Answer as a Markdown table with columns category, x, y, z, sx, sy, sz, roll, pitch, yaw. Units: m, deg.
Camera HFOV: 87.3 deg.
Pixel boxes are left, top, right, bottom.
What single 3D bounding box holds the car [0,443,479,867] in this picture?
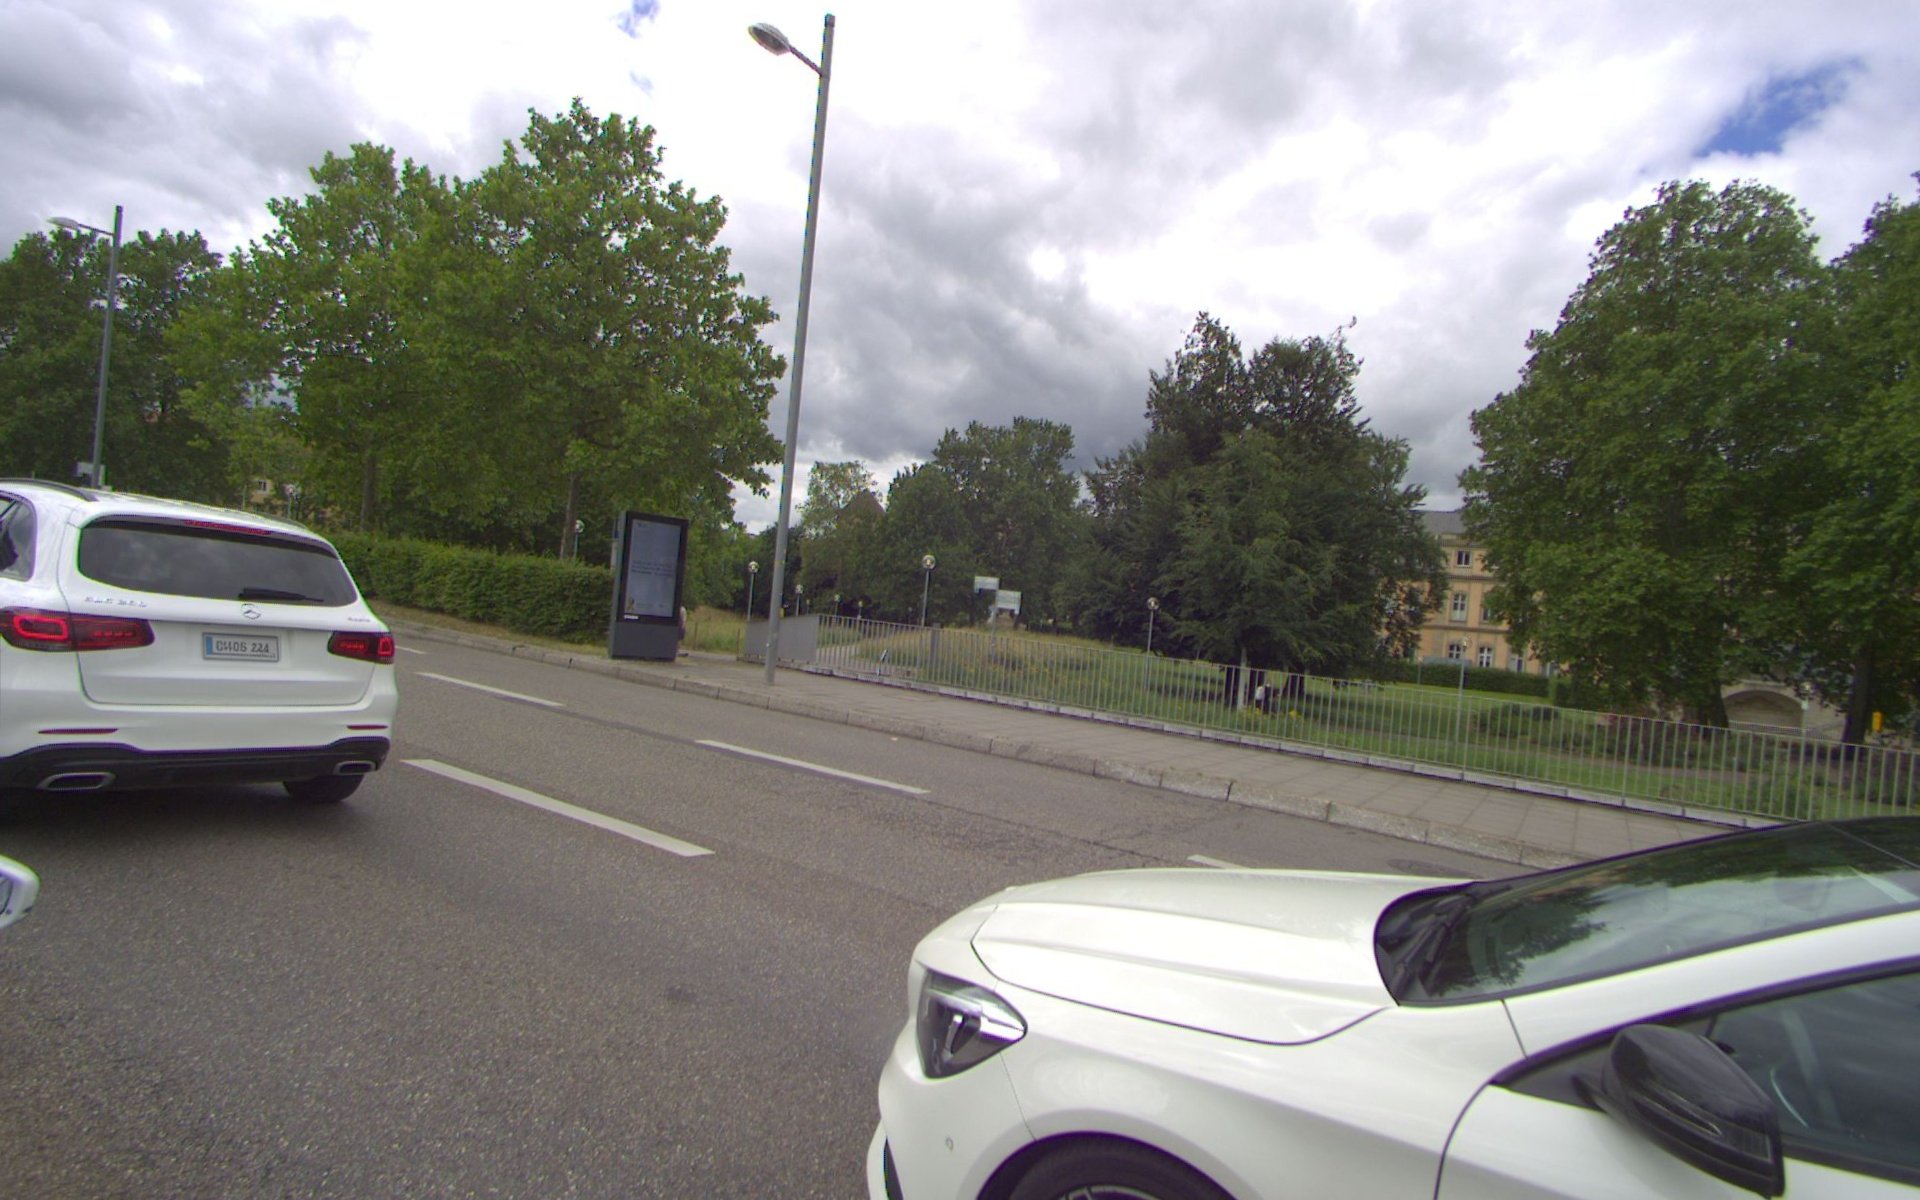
| category | x | y | z | sx | sy | sz | roll | pitch | yaw |
| --- | --- | --- | --- | --- | --- | --- | --- | --- | --- |
| car | -5.092 | 0.103 | 5.937 | 4.417 | 1.673 | 1.929 | 6 | -1 | 33 |

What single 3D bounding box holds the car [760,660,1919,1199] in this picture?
| category | x | y | z | sx | sy | sz | roll | pitch | yaw |
| --- | --- | --- | --- | --- | --- | --- | --- | --- | --- |
| car | 1.935 | 1.102 | 1.779 | 4.454 | 1.436 | 1.796 | 5 | -2 | 33 |

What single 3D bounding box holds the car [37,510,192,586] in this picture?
| category | x | y | z | sx | sy | sz | roll | pitch | yaw |
| --- | --- | --- | --- | --- | --- | --- | --- | --- | --- |
| car | -21.152 | -1.314 | 25.111 | 4.460 | 1.476 | 1.932 | 5 | -3 | 37 |

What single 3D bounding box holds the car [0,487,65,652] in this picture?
| category | x | y | z | sx | sy | sz | roll | pitch | yaw |
| --- | --- | --- | --- | --- | --- | --- | --- | --- | --- |
| car | -11.411 | -0.526 | 10.482 | 4.417 | 1.569 | 1.929 | 6 | -2 | 33 |

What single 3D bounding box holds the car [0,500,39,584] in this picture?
| category | x | y | z | sx | sy | sz | roll | pitch | yaw |
| --- | --- | --- | --- | --- | --- | --- | --- | --- | --- |
| car | -21.606 | -1.450 | 21.167 | 4.231 | 1.659 | 1.997 | 6 | -1 | 30 |

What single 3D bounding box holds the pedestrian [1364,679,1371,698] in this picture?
| category | x | y | z | sx | sy | sz | roll | pitch | yaw |
| --- | --- | --- | --- | --- | --- | --- | --- | --- | --- |
| pedestrian | 38.232 | 8.280 | 94.362 | 0.460 | 1.725 | 0.405 | 5 | -2 | 32 |

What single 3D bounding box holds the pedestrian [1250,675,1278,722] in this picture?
| category | x | y | z | sx | sy | sz | roll | pitch | yaw |
| --- | --- | --- | --- | --- | --- | --- | --- | --- | --- |
| pedestrian | 11.252 | 3.639 | 37.231 | 0.645 | 1.619 | 0.684 | 6 | -2 | -1 |
